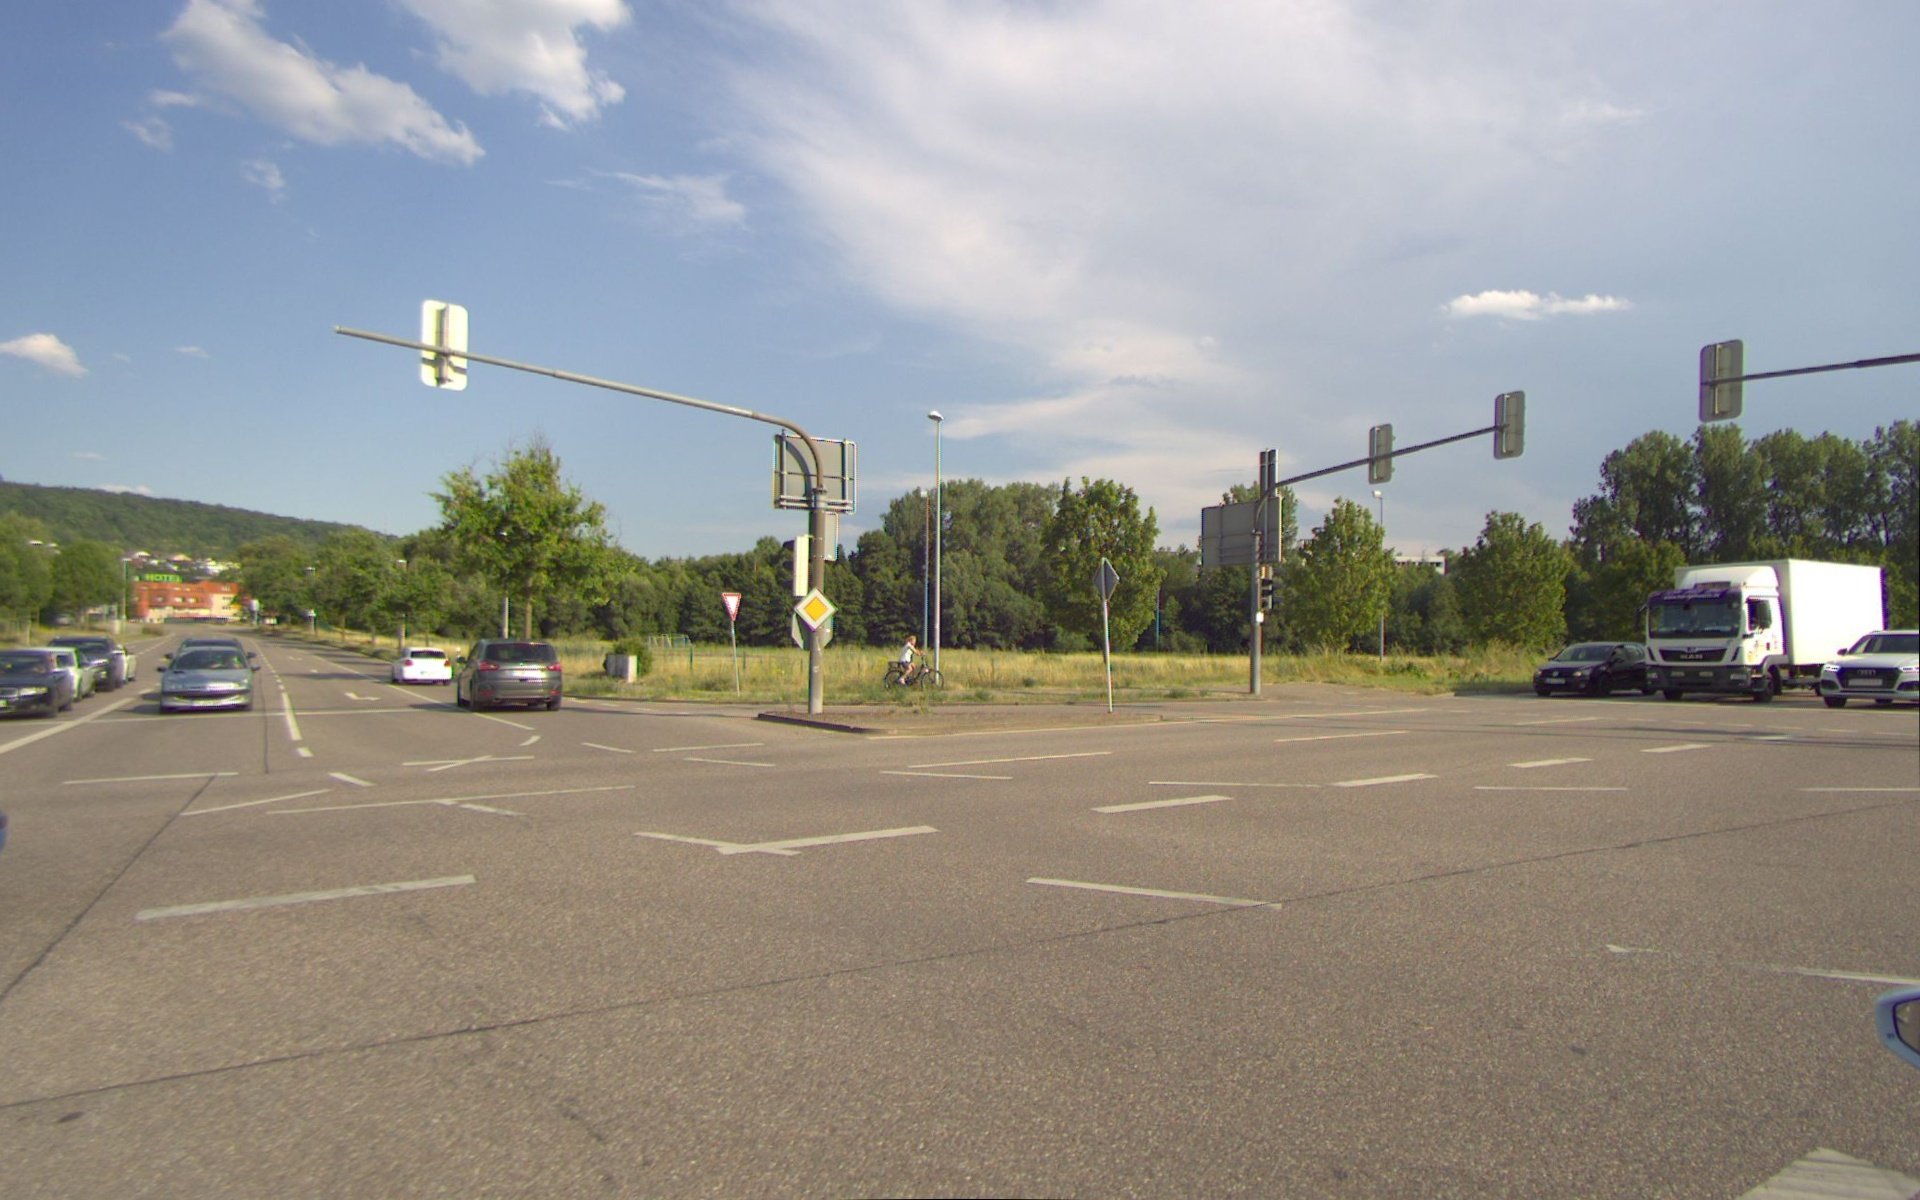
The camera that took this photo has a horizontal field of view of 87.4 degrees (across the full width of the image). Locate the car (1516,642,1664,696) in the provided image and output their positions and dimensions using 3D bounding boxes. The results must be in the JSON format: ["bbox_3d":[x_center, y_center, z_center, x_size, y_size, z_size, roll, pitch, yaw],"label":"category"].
[{"bbox_3d":[17.423,1.899,27.756,3.953,1.394,1.806,2,-4,-30],"label":"car"}]

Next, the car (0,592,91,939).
[{"bbox_3d":[-5.752,0.671,3.414,1.663,1.519,3.885,0,-2,30],"label":"car"}]

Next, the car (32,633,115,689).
[{"bbox_3d":[-27.426,1.848,31.032,1.756,1.439,3.829,2,0,-44],"label":"car"}]

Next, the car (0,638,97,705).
[{"bbox_3d":[-24.057,1.831,26.471,1.756,1.439,3.829,2,0,-44],"label":"car"}]

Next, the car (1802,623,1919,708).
[{"bbox_3d":[20.745,1.425,22.126,4.753,1.700,1.983,2,-3,-32],"label":"car"}]

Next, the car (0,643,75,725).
[{"bbox_3d":[-19.665,1.691,20.950,1.625,1.378,3.829,2,0,-44],"label":"car"}]

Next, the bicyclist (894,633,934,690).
[{"bbox_3d":[-1.265,1.691,27.858,0.902,1.521,0.725,2,0,14],"label":"bicyclist"}]

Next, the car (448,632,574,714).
[{"bbox_3d":[-10.497,1.654,23.311,1.907,1.712,4.118,3,-4,-34],"label":"car"}]

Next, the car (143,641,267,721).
[{"bbox_3d":[-17.085,1.754,22.668,1.756,1.439,3.829,2,0,-44],"label":"car"}]

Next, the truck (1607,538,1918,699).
[{"bbox_3d":[21.878,0.696,27.146,10.375,3.738,2.920,2,-4,-30],"label":"truck"}]

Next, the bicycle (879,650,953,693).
[{"bbox_3d":[-1.210,1.969,27.847,1.896,1.053,0.709,2,0,13],"label":"bicycle"}]

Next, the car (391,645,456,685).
[{"bbox_3d":[-20.514,2.442,38.340,1.750,1.386,3.714,2,-2,-34],"label":"car"}]
